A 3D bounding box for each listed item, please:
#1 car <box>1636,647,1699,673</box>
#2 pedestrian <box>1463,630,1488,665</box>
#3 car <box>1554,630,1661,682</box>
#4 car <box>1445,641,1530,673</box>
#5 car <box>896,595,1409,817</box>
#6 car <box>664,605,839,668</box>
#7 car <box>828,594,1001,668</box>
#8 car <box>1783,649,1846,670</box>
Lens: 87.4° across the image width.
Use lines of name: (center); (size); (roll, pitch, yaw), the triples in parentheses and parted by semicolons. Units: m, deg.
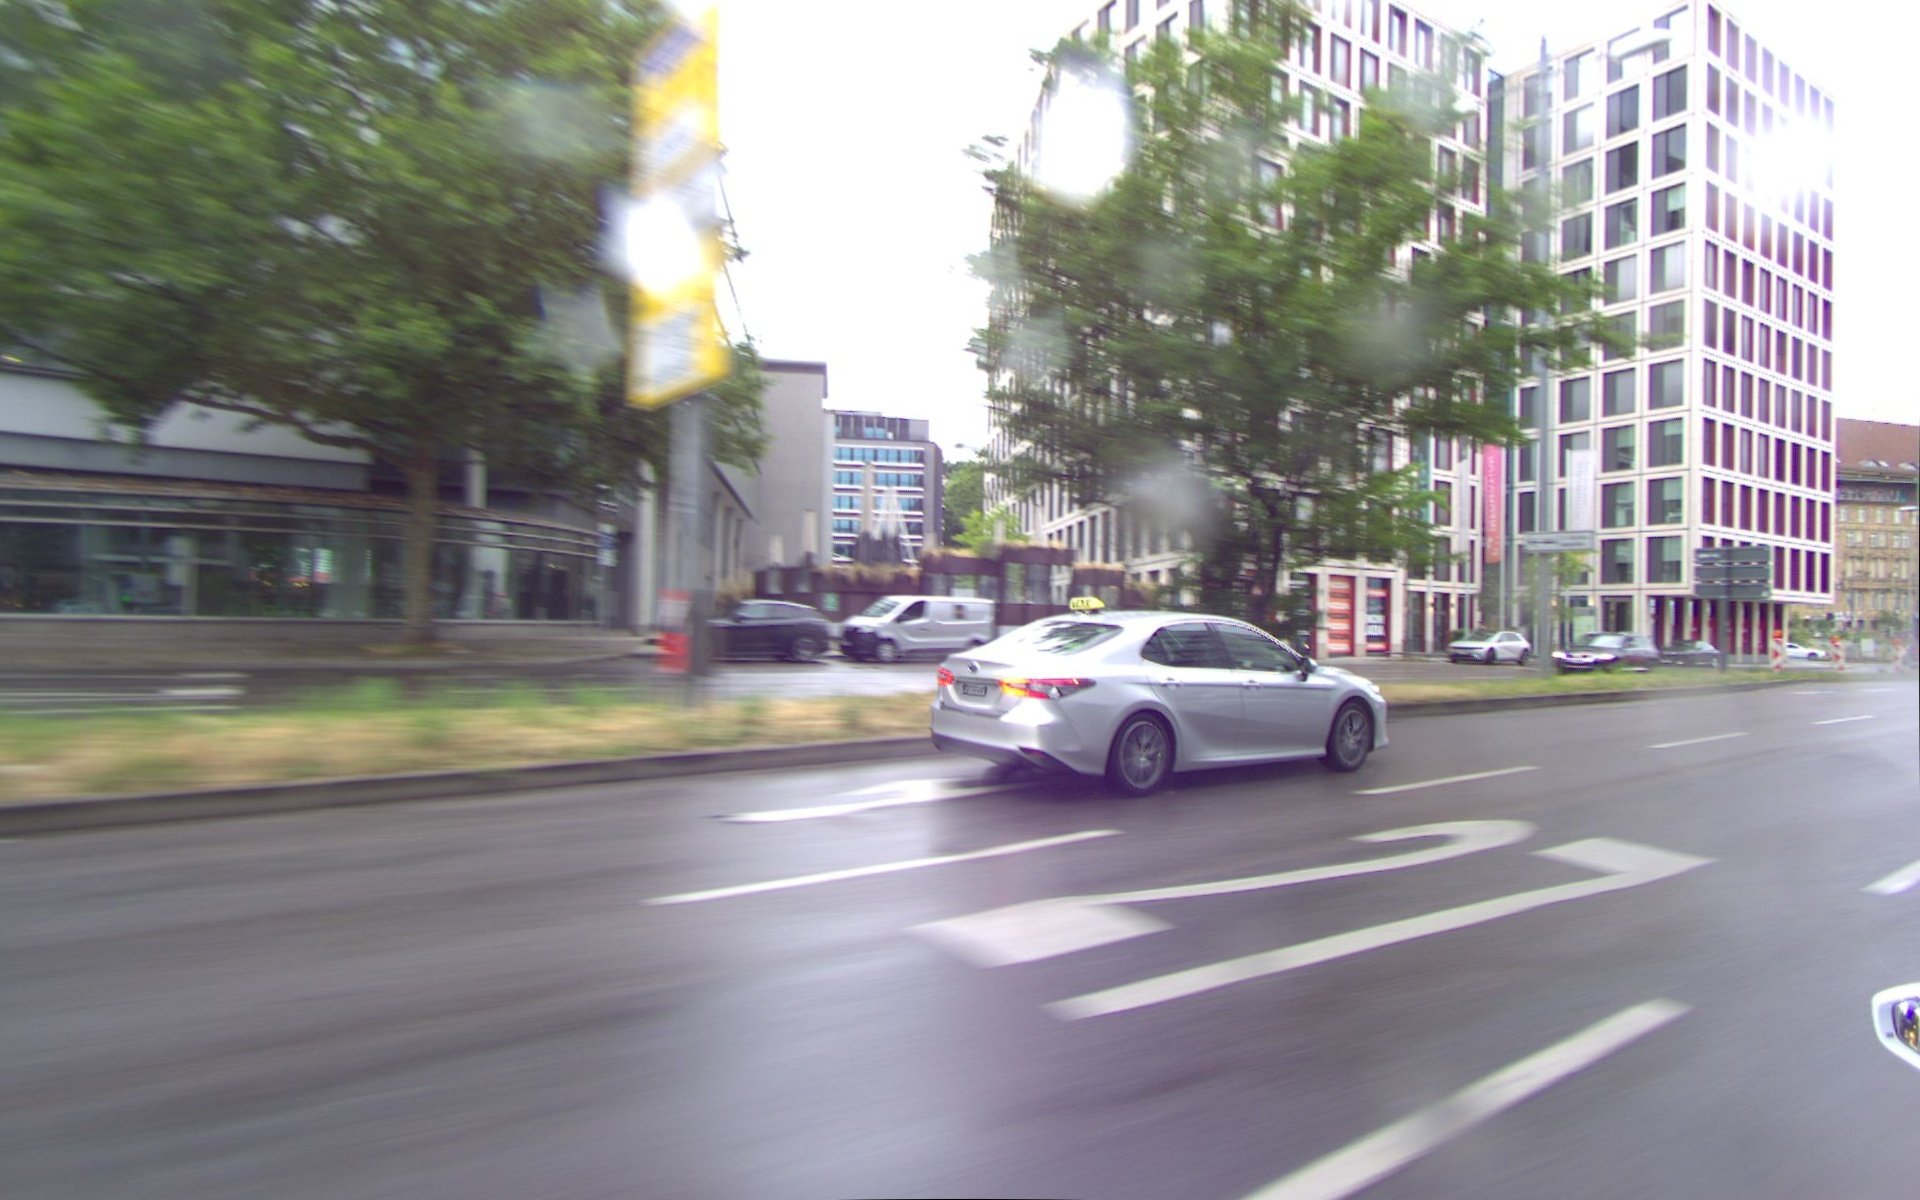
car: (41.079, 3.460, 58.313); (3.915, 1.442, 1.687); (2, -3, -34)
pedestrian: (26.664, 2.441, 51.935); (0.951, 1.757, 0.612); (2, -1, -17)
car: (22.981, 1.975, 35.579); (4.835, 1.653, 1.810); (3, -1, -40)
car: (24.679, 2.677, 46.988); (4.329, 1.442, 1.687); (2, -3, -34)
car: (1.924, 0.832, 9.129); (4.756, 1.541, 1.818); (3, -1, -36)
car: (-5.595, 0.989, 27.131); (4.244, 1.549, 1.786); (3, -1, -35)
car: (-1.318, 0.946, 30.178); (4.866, 2.040, 1.981); (3, -1, -35)
car: (78.104, 5.410, 91.906); (4.330, 1.684, 1.991); (1, -1, 41)
